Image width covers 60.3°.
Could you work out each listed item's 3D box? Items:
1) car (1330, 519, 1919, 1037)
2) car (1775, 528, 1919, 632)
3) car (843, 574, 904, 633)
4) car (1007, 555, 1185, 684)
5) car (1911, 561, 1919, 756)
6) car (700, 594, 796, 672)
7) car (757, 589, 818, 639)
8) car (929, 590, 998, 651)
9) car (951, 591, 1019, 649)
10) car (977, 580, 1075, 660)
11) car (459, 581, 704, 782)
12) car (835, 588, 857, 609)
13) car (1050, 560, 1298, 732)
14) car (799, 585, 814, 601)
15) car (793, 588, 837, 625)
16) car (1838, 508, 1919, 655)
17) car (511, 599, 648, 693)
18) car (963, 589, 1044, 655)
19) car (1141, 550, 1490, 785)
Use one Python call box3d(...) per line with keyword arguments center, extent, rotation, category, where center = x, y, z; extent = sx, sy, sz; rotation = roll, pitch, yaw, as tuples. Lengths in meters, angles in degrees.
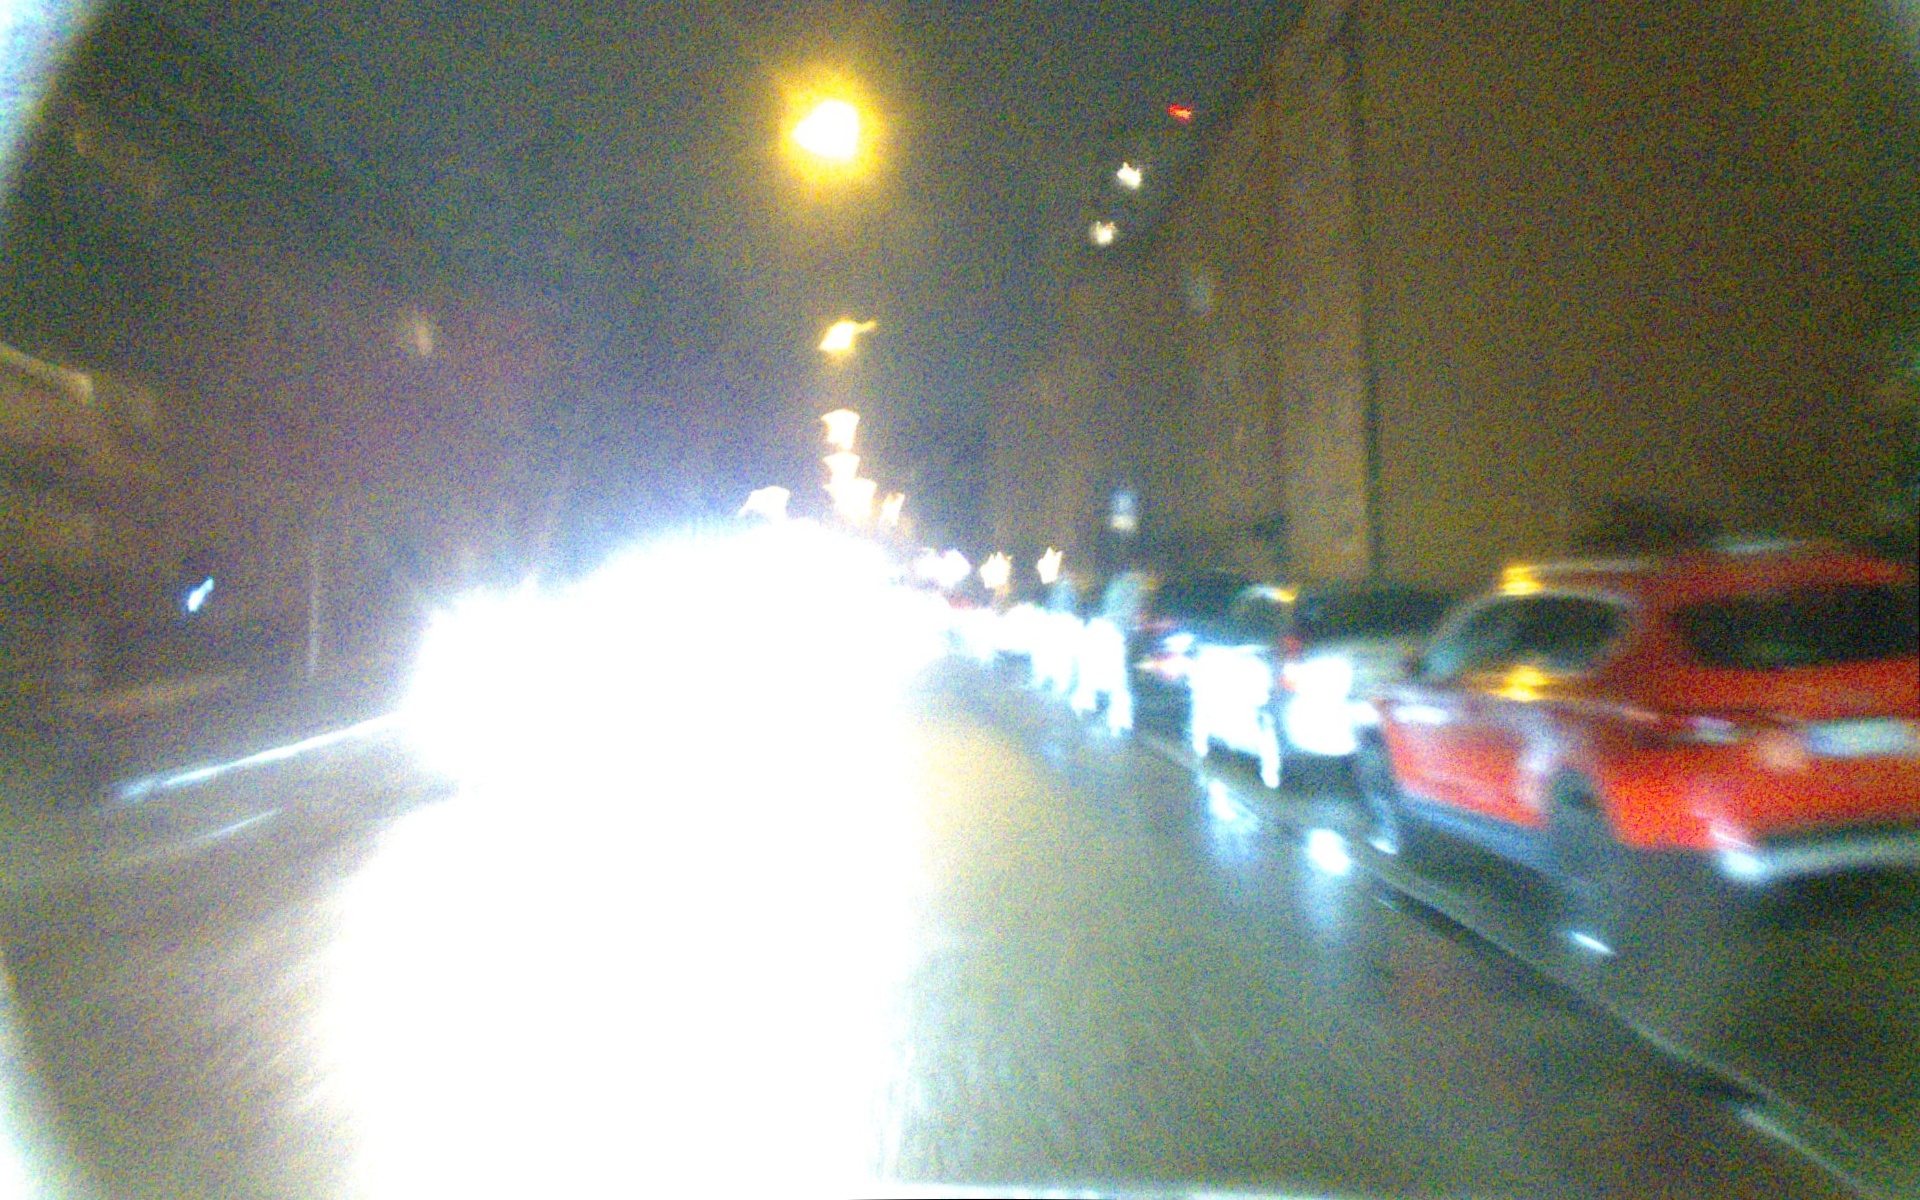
box3d(center=(3.287, 0.567, 7.953), extent=(1.680, 1.737, 4.183), rotation=(-4, 1, -5), category="car")
box3d(center=(14.120, -0.342, 24.146), extent=(3.612, 1.424, 1.620), rotation=(-2, 1, -2), category="car")
box3d(center=(-2.907, 0.080, 55.813), extent=(1.954, 1.713, 3.999), rotation=(-2, 3, -3), category="car")
box3d(center=(1.915, 0.226, 24.726), extent=(1.844, 1.599, 4.584), rotation=(-4, 1, -5), category="car")
box3d(center=(3.515, 0.615, 2.228), extent=(1.679, 1.514, 4.434), rotation=(-3, 0, -3), category="car")
box3d(center=(-4.377, 0.654, 34.692), extent=(1.642, 1.459, 4.509), rotation=(-2, 0, -3), category="car")
box3d(center=(-5.511, 0.404, 53.229), extent=(1.821, 1.486, 4.519), rotation=(-1, 1, -5), category="car")
box3d(center=(0.074, 0.598, 51.327), extent=(1.785, 1.702, 3.997), rotation=(-4, 1, -4), category="car")
box3d(center=(0.649, 0.513, 45.191), extent=(1.466, 1.412, 3.744), rotation=(-4, 1, -4), category="car")
box3d(center=(1.341, 0.371, 35.182), extent=(1.596, 1.491, 4.508), rotation=(-4, 1, -3), category="car")
box3d(center=(-3.109, 0.602, 14.051), extent=(1.516, 1.525, 2.792), rotation=(0, 1, -2), category="car")
box3d(center=(-10.328, -0.157, 149.854), extent=(1.777, 1.739, 3.801), rotation=(-4, 1, -4), category="car")
box3d(center=(2.310, 0.426, 19.064), extent=(1.844, 1.599, 4.524), rotation=(-4, 1, -5), category="car")
box3d(center=(-18.068, -0.810, 194.804), extent=(1.505, 1.739, 3.801), rotation=(-4, 1, -4), category="car")
box3d(center=(-6.233, 0.249, 71.311), extent=(1.785, 1.488, 4.861), rotation=(-1, 1, -5), category="car")
box3d(center=(13.857, -0.324, 21.466), extent=(3.984, 1.820, 1.749), rotation=(-2, 1, -2), category="car")
box3d(center=(-6.981, 0.819, 30.742), extent=(1.546, 1.482, 4.641), rotation=(-4, -1, -2), category="car")
box3d(center=(1.027, 0.506, 40.790), extent=(1.572, 1.412, 3.790), rotation=(-4, 1, -4), category="car")
box3d(center=(2.779, 0.451, 13.912), extent=(1.720, 1.555, 4.150), rotation=(-4, 1, -4), category="car")
